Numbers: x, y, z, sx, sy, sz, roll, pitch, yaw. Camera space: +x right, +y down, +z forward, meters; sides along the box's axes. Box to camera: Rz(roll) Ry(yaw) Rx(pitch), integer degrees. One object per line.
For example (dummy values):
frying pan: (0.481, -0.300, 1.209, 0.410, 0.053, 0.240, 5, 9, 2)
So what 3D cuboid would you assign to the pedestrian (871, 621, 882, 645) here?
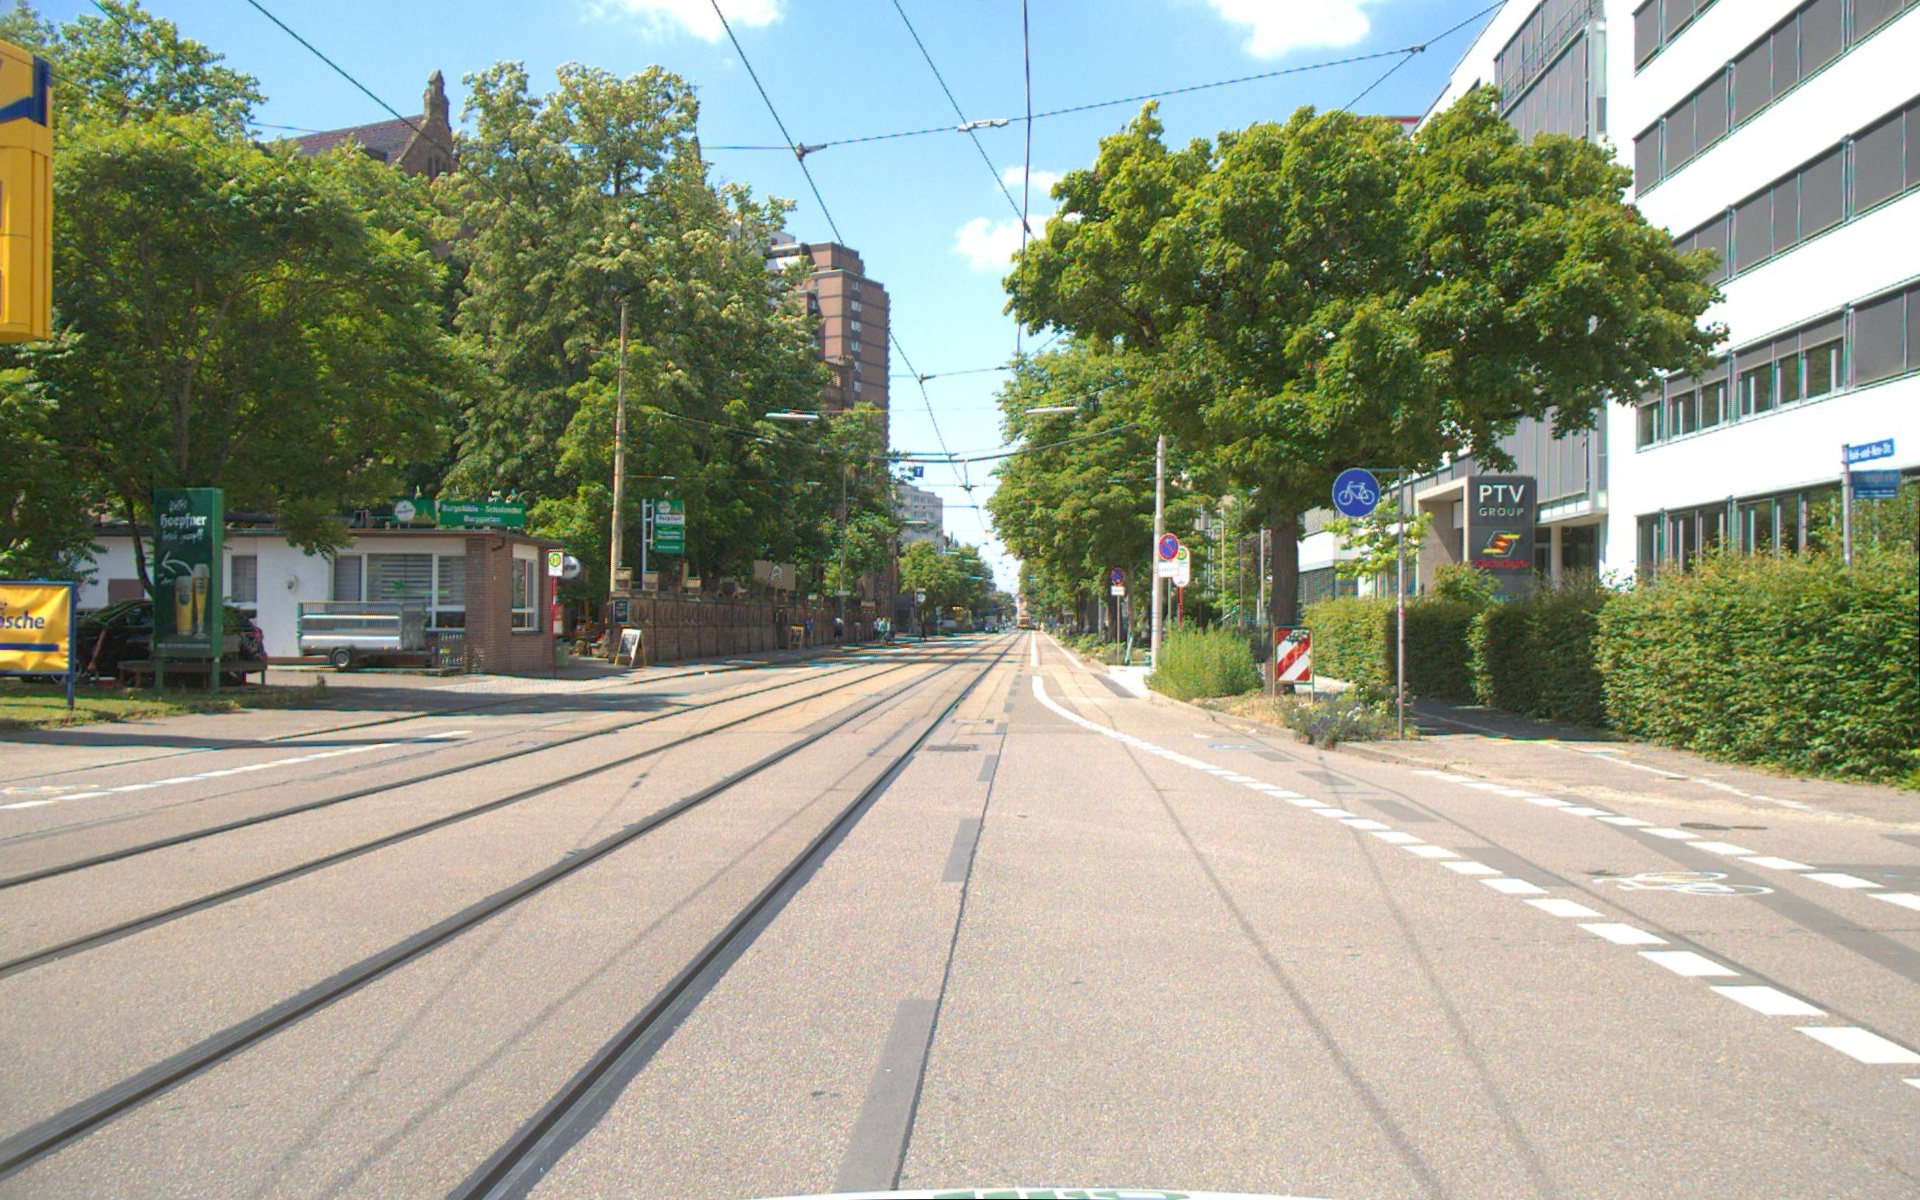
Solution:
pedestrian: (-6.244, 2.465, 123.741, 0.727, 1.758, 0.867, 1, -1, 2)

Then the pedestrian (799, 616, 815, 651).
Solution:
pedestrian: (-7.781, 1.718, 84.152, 0.727, 1.758, 0.867, 1, -1, 2)

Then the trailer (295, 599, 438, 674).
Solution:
trailer: (-14.140, 0.870, 39.505, 2.771, 1.734, 1.621, 1, -1, 3)

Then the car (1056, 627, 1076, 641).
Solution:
car: (10.564, 3.401, 164.753, 1.952, 1.333, 4.001, 0, -1, 2)

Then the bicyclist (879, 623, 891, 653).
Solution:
bicyclist: (-4.318, 2.172, 94.797, 0.628, 1.709, 0.815, 0, -1, 2)

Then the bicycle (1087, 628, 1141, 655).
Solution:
bicycle: (7.102, 1.890, 76.119, 2.457, 1.231, 0.648, 0, -1, 7)

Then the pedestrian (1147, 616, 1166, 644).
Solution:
pedestrian: (12.996, 1.966, 109.358, 1.190, 1.859, 0.831, 0, -1, -1)

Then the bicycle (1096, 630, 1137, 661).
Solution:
bicycle: (6.729, 1.957, 71.163, 1.716, 1.293, 0.530, 1, -1, 0)

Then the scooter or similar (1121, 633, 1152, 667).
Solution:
scooter or similar: (6.192, 1.743, 58.140, 1.036, 1.176, 0.371, -1, -1, 3)

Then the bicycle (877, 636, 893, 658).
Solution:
bicycle: (-4.305, 2.665, 94.737, 0.686, 1.225, 2.241, -2, -1, 2)

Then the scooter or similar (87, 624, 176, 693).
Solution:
scooter or similar: (-14.704, 1.024, 29.369, 1.350, 1.195, 0.399, 2, -1, -45)

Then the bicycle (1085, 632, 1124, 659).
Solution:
bicycle: (6.536, 2.040, 74.749, 1.716, 1.186, 0.530, 1, -1, 0)

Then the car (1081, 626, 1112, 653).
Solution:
car: (7.718, 2.244, 93.947, 1.600, 1.527, 4.001, 0, -1, 2)

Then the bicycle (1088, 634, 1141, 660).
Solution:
bicycle: (7.296, 2.228, 78.056, 2.457, 1.231, 0.742, 0, -1, 7)

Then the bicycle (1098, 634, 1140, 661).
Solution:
bicycle: (6.732, 2.017, 70.008, 1.751, 1.122, 0.532, 0, -1, 0)

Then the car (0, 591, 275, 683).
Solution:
car: (-15.444, 0.685, 31.146, 4.299, 1.618, 1.968, 1, -1, -44)

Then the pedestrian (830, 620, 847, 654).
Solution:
pedestrian: (-6.597, 1.993, 89.664, 0.798, 1.801, 0.925, 1, -1, 2)
